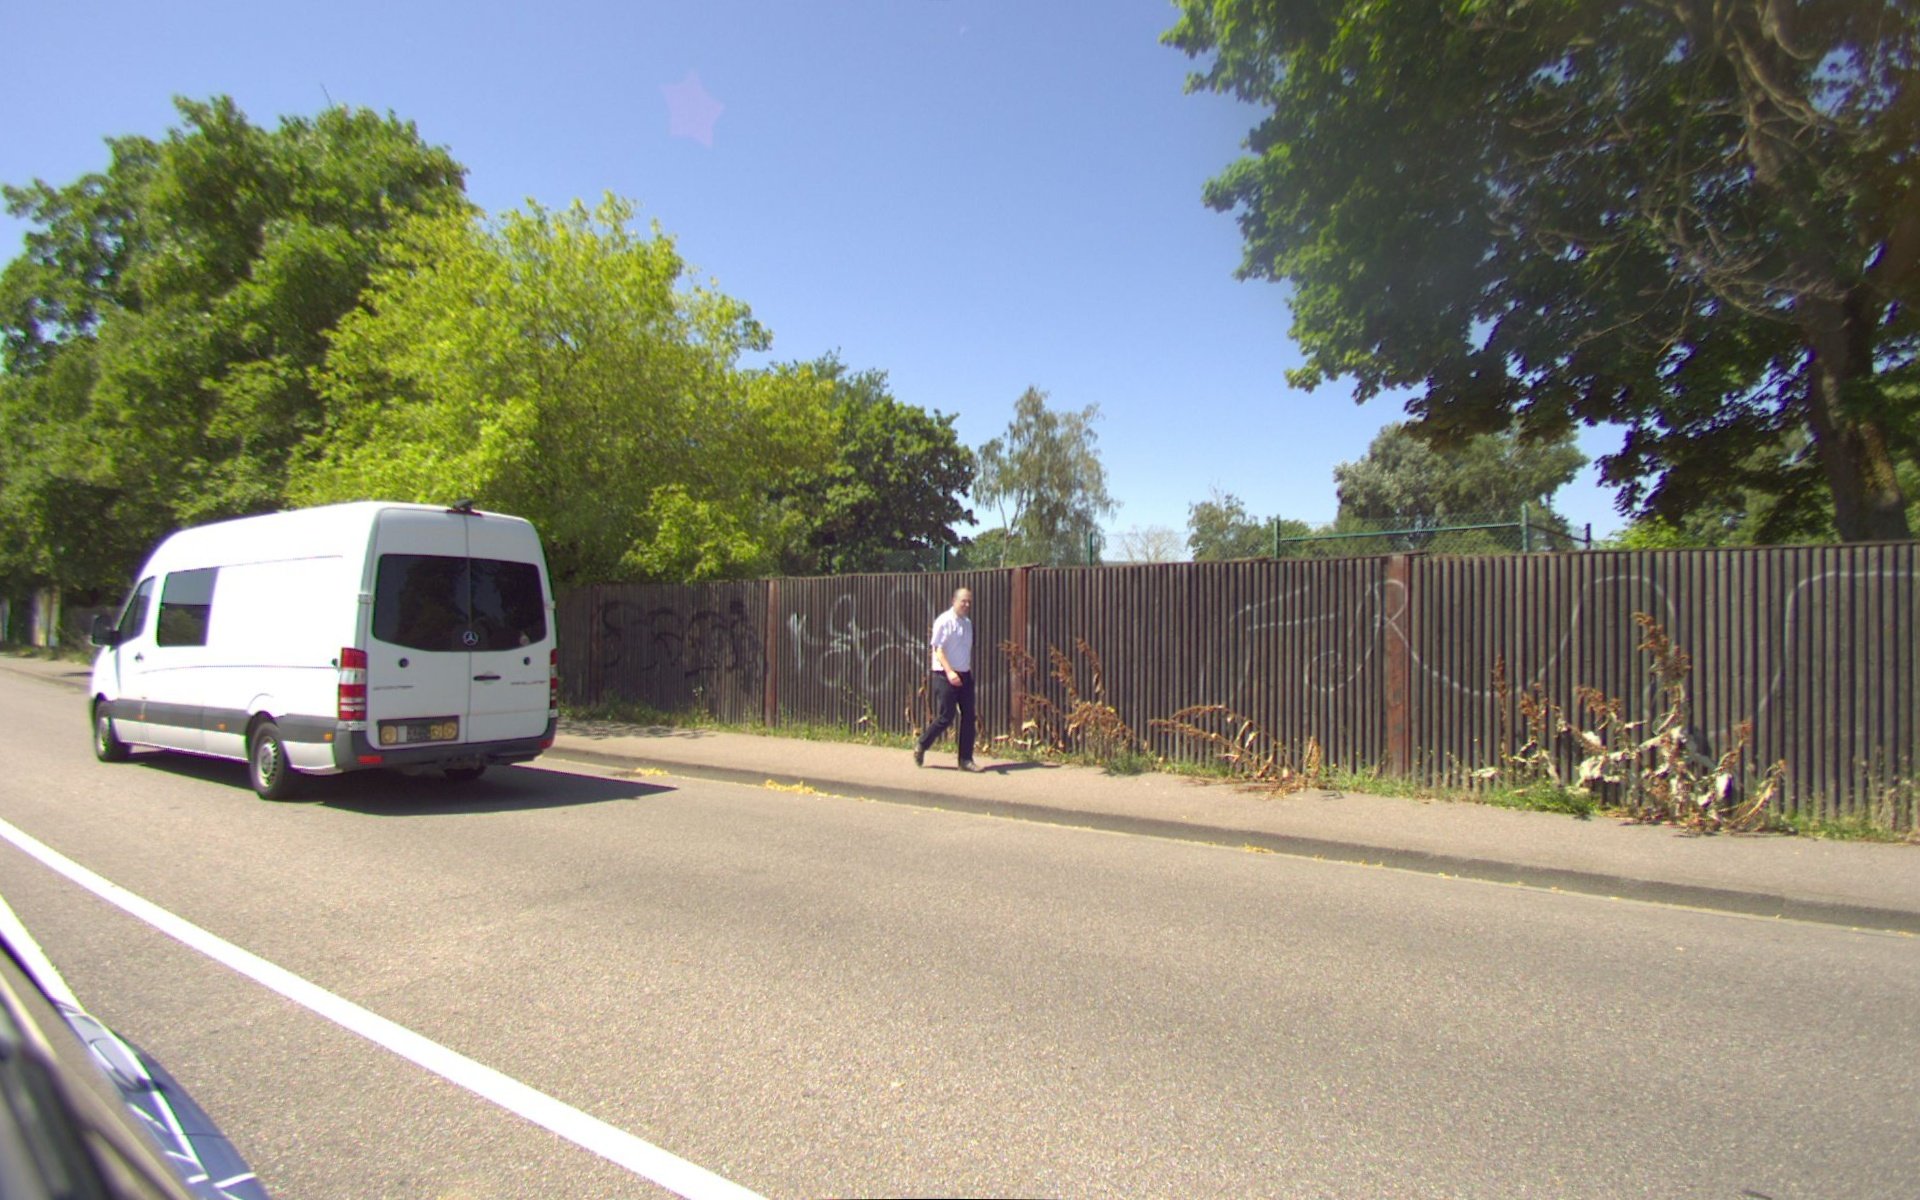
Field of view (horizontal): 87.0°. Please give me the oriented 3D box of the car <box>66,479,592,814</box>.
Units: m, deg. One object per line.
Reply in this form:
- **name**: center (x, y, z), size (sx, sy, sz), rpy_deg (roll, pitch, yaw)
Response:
- **car**: center (-6.817, 0.422, 10.499), size (6.809, 2.558, 2.003), rpy_deg (-1, -2, 34)

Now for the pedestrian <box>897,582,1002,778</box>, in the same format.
- **pedestrian**: center (-0.105, 0.755, 9.994), size (0.850, 1.838, 0.586), rpy_deg (-1, -1, 41)
